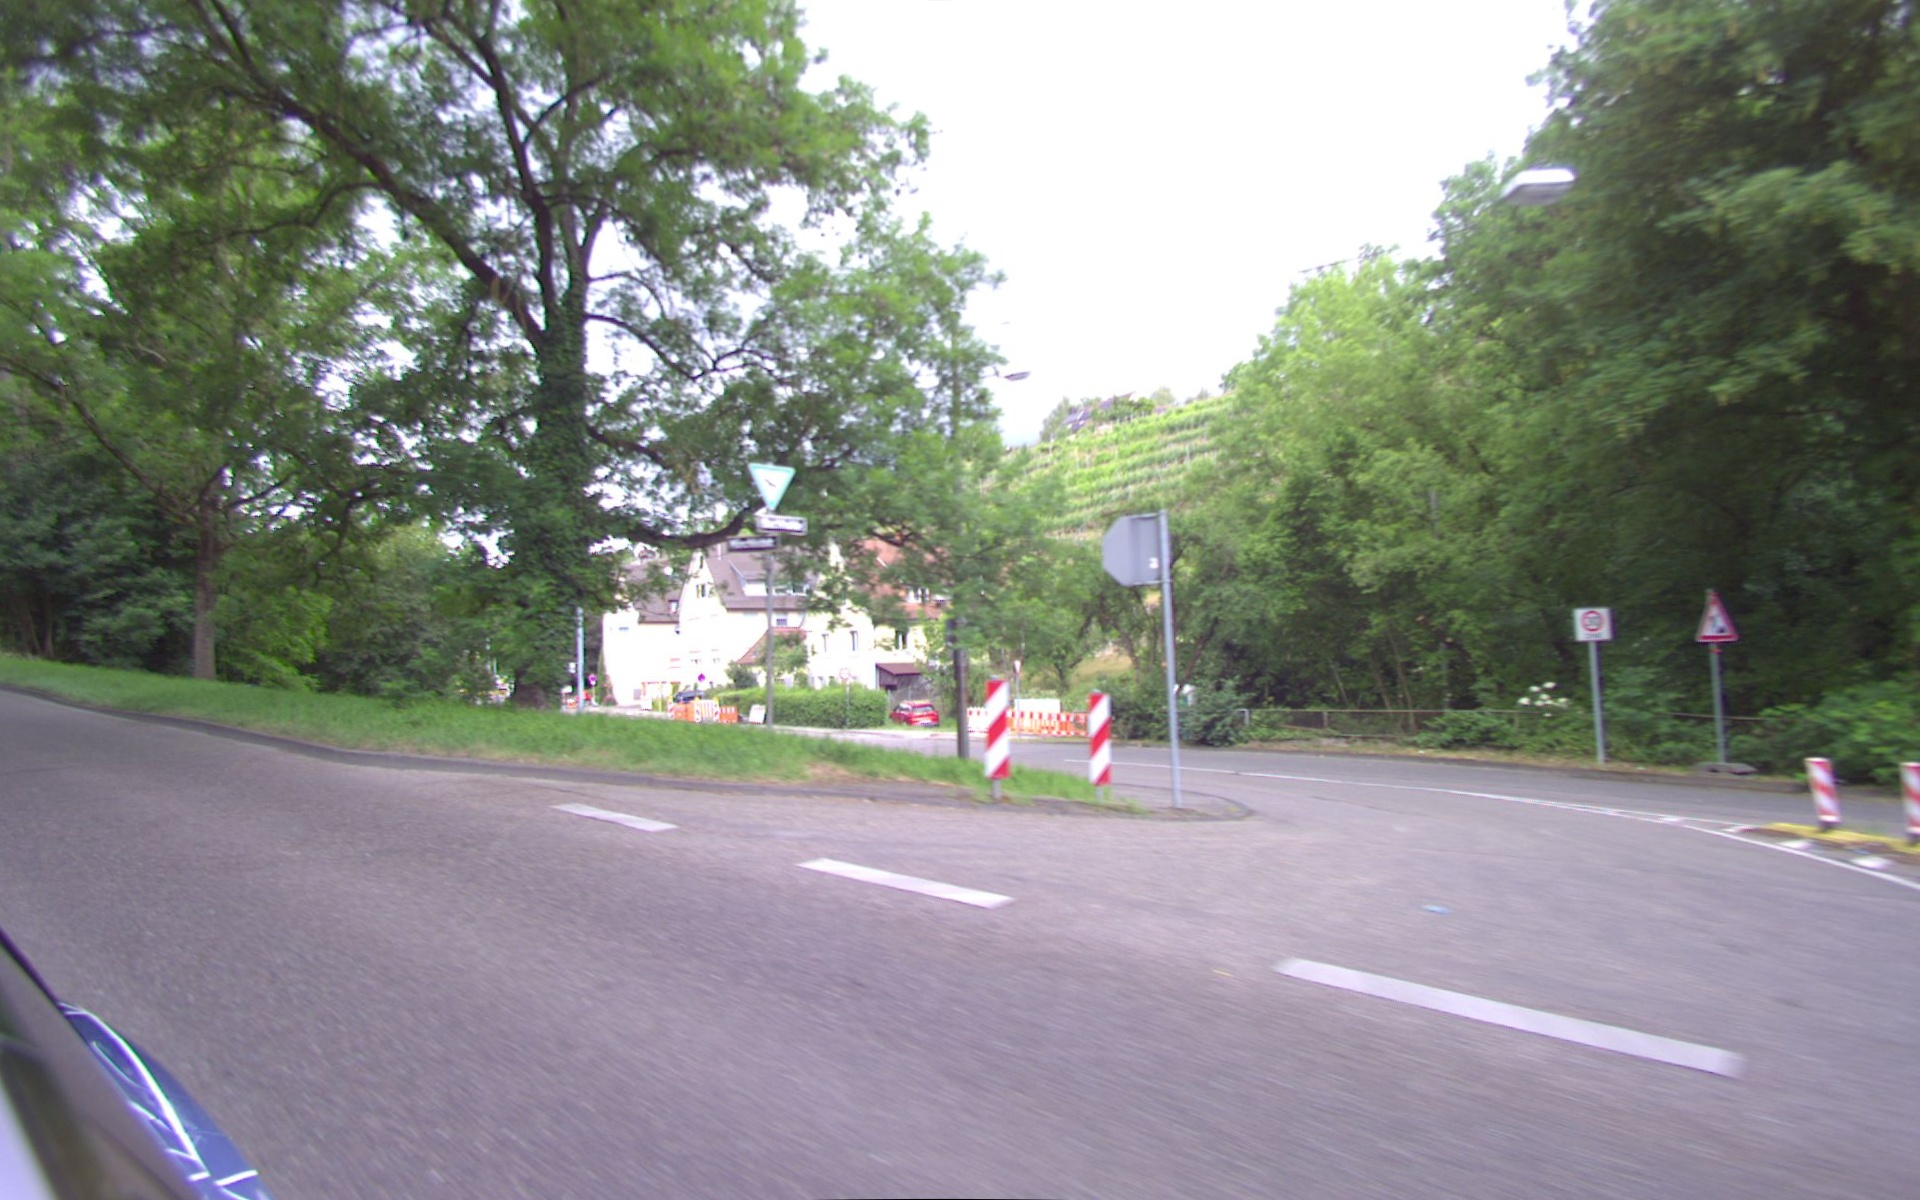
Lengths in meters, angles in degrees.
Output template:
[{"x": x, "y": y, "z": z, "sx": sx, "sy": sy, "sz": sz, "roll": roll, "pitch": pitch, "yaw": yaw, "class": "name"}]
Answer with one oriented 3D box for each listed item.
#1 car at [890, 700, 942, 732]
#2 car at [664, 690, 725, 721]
[{"x": -2.232, "y": 5.757, "z": 50.274, "sx": 1.727, "sy": 1.400, "sz": 4.010, "roll": 5, "pitch": -7, "yaw": -14, "class": "car"}, {"x": -18.722, "y": 7.426, "z": 71.514, "sx": 3.787, "sy": 1.896, "sz": 1.723, "roll": 0, "pitch": -3, "yaw": -38, "class": "car"}]
